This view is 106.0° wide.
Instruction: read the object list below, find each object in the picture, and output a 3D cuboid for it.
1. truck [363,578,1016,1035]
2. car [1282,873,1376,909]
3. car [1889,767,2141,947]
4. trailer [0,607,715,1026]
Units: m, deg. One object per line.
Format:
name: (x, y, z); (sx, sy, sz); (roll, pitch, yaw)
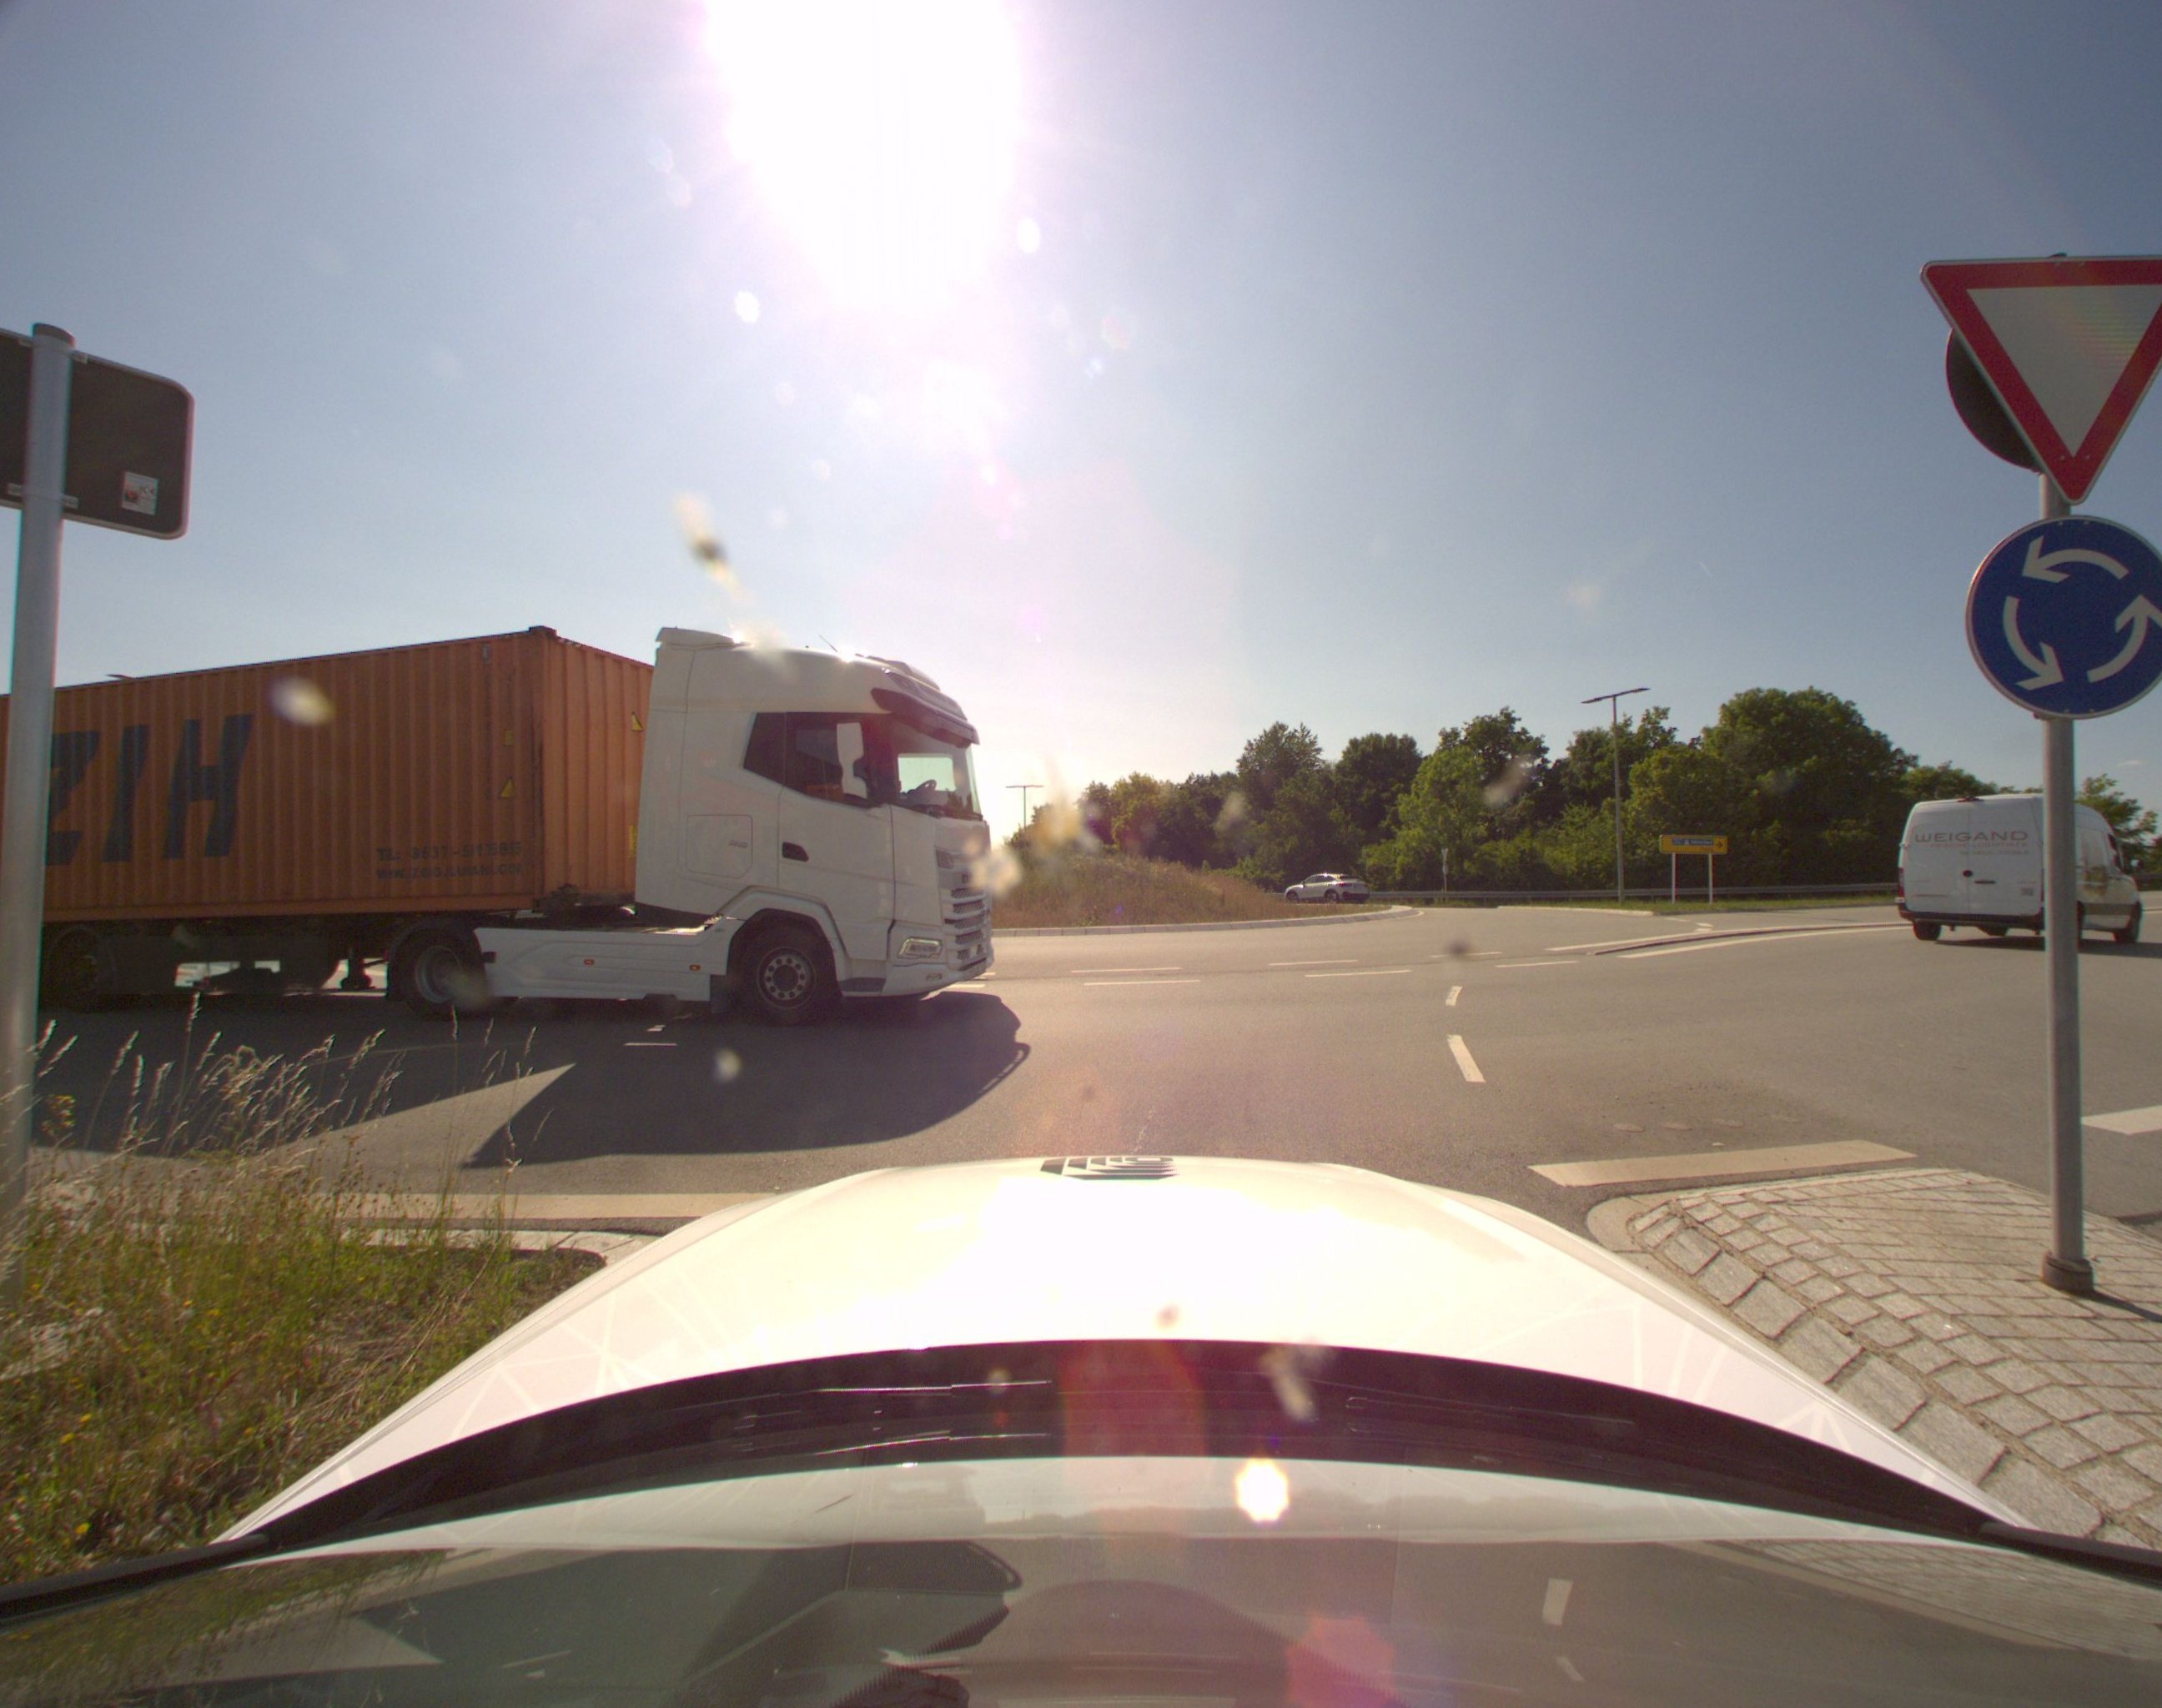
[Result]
truck: (-4.224, -0.375, 9.301); (6.369, 4.107, 2.672); (-1, -1, 13)
car: (11.637, 1.690, 38.499); (1.851, 1.596, 4.287); (1, -1, -27)
car: (18.118, 0.109, 15.713); (6.157, 2.921, 2.064); (1, -2, -31)
trailer: (-11.013, -0.234, 10.759); (12.232, 4.154, 2.570); (-1, -1, 14)
